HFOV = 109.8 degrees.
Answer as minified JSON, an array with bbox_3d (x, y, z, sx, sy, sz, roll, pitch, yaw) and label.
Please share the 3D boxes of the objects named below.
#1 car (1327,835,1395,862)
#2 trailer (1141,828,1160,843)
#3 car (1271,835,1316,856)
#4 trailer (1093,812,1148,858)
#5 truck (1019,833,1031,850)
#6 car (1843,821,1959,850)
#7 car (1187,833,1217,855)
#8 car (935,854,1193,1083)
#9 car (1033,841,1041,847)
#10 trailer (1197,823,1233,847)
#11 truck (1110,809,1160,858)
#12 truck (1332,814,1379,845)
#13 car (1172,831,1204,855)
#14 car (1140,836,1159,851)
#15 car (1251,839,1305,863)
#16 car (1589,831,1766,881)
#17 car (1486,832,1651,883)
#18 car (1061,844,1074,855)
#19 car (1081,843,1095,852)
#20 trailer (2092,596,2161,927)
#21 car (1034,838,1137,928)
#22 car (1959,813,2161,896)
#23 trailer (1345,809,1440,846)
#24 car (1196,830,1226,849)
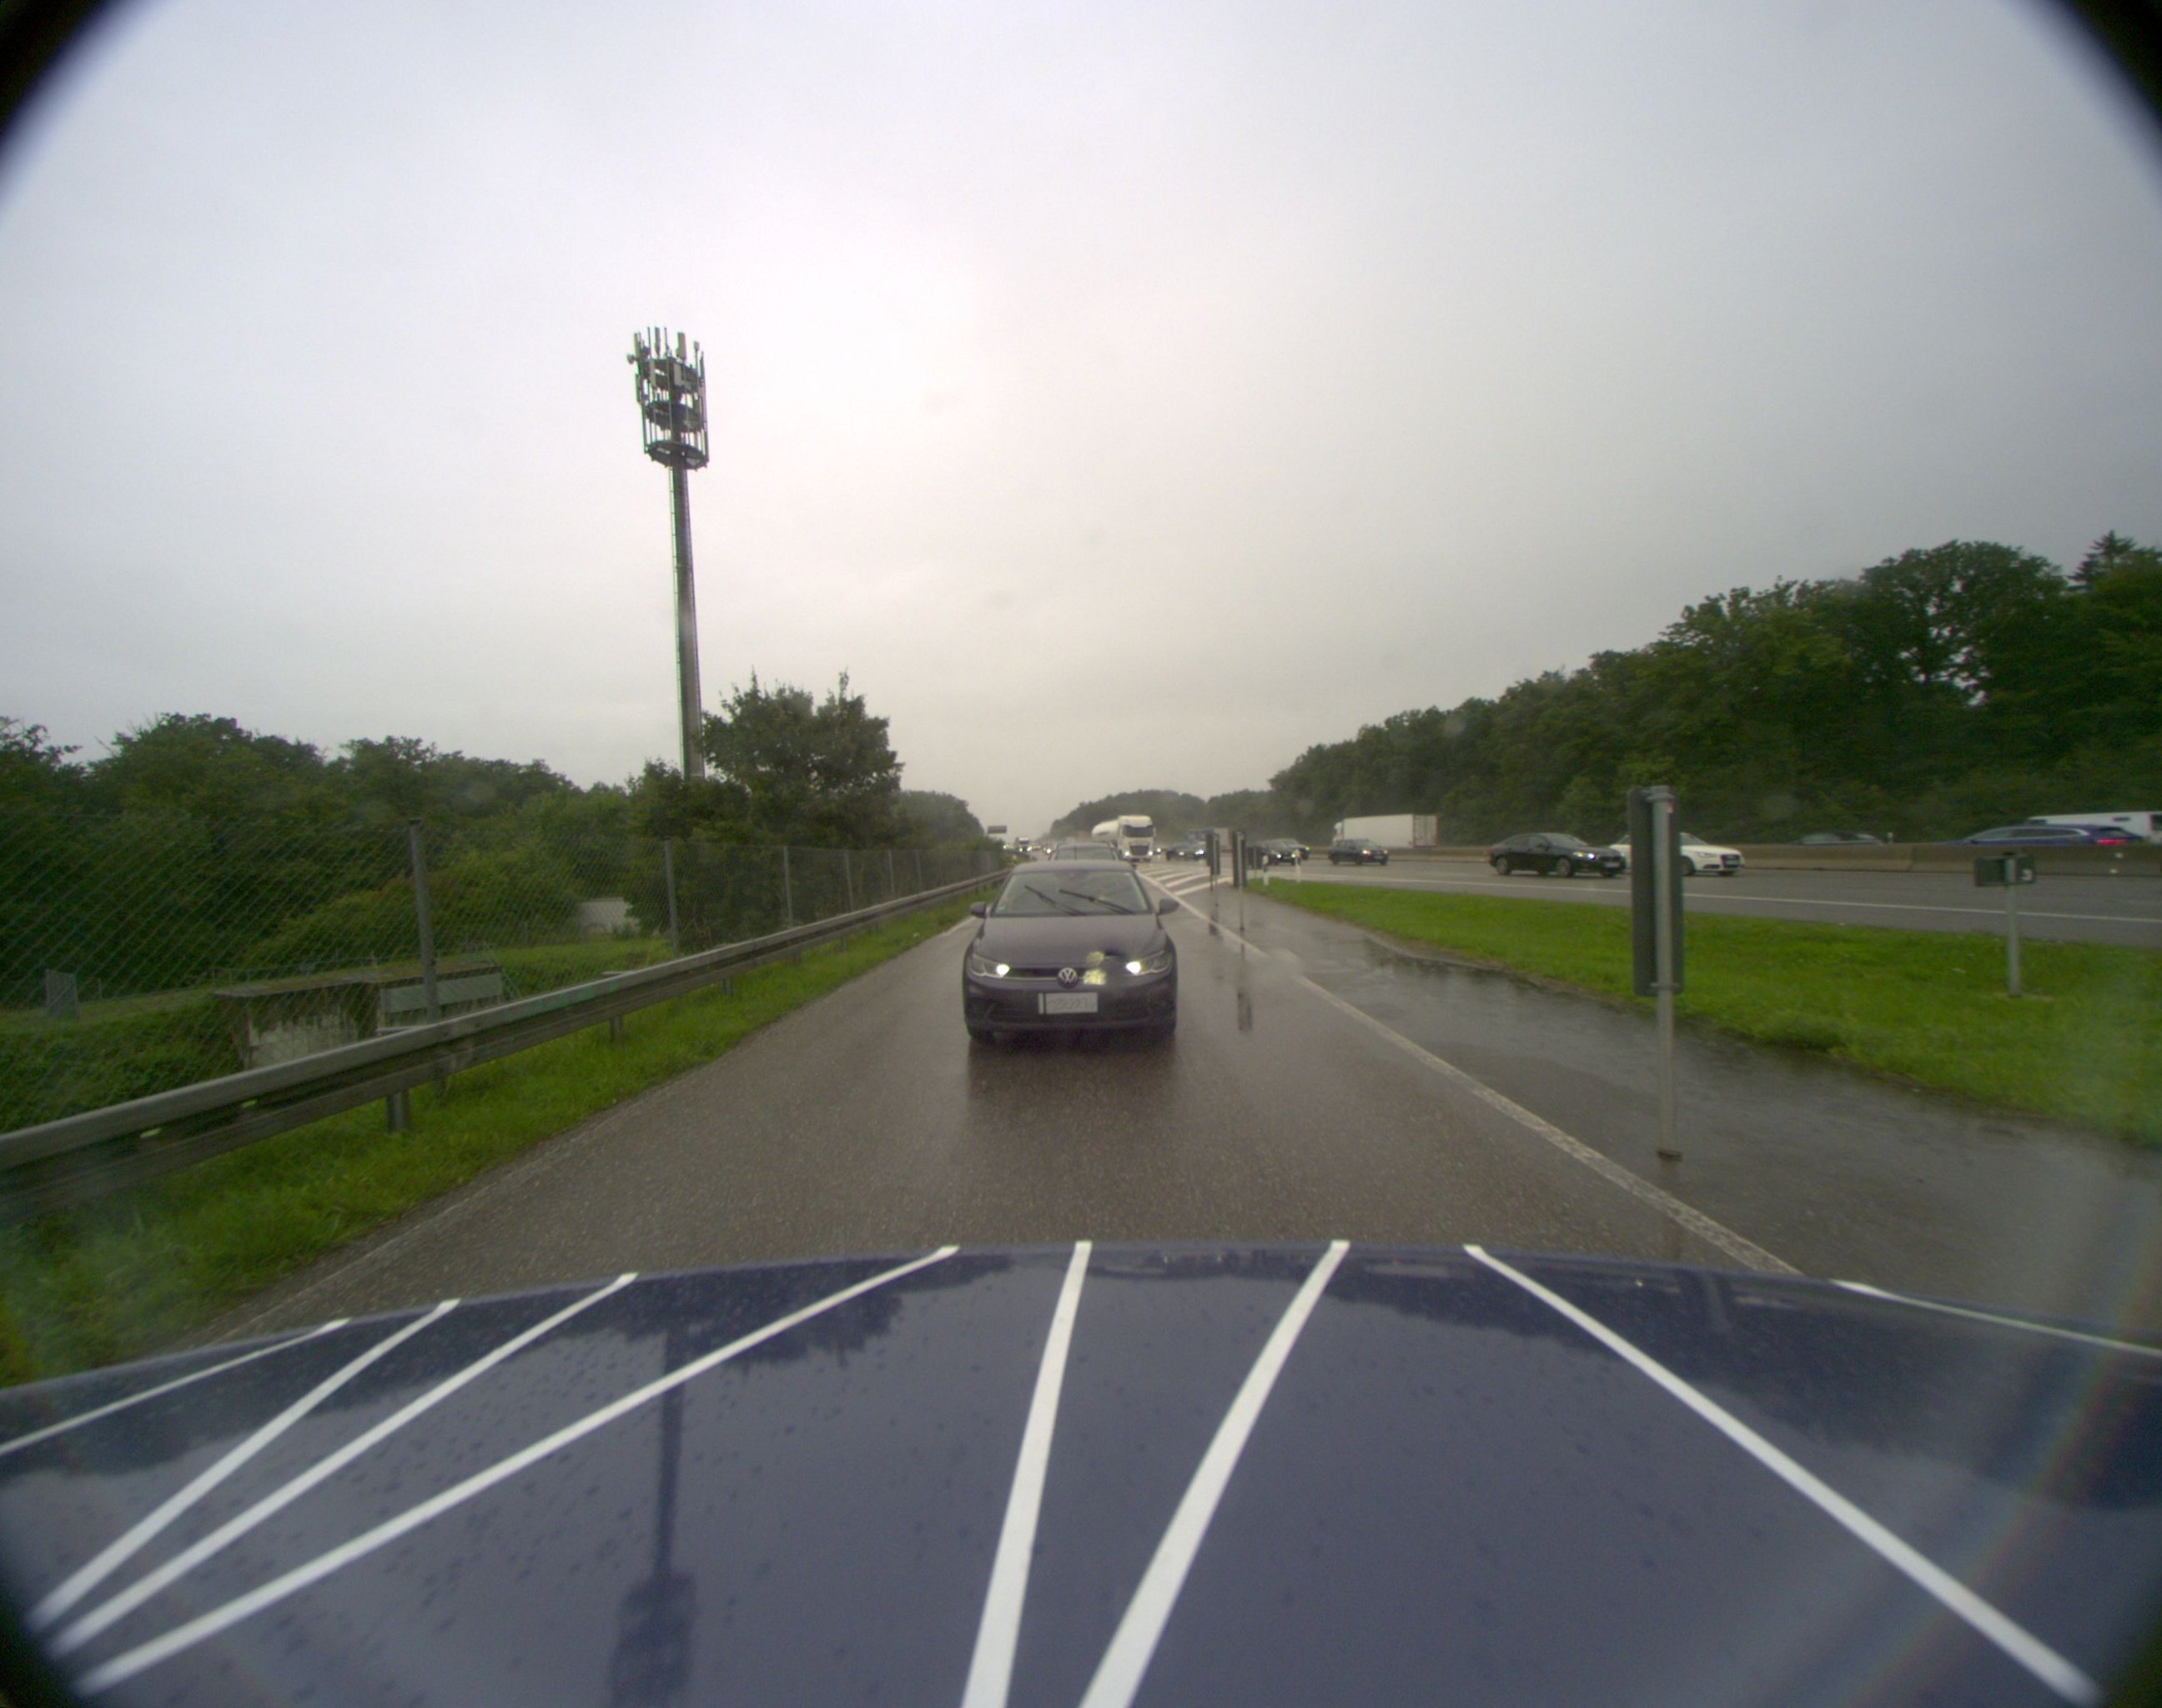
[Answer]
[{"bbox_3d":[16.017,-0.291,43.653,1.824,1.406,4.120,-1,0,-10],"label":"car"},{"bbox_3d":[17.555,-4.620,193.001,2.740,3.398,11.392,-2,1,-5],"label":"trailer"},{"bbox_3d":[17.152,-0.715,61.636,1.824,1.659,4.400,0,1,-10],"label":"car"},{"bbox_3d":[3.538,-1.754,71.899,2.771,4.003,11.030,-1,1,-10],"label":"trailer"},{"bbox_3d":[-14.228,-3.211,193.847,2.597,4.121,5.228,-5,1,-3],"label":"truck"},{"bbox_3d":[33.299,-0.754,30.960,1.443,1.075,2.885,-3,2,-10],"label":"car"},{"bbox_3d":[11.338,-0.927,71.429,1.862,2.002,3.997,-1,1,-6],"label":"car"},{"bbox_3d":[-0.141,0.798,7.413,1.670,1.394,4.261,-5,1,-1],"label":"car"},{"bbox_3d":[-12.028,-2.738,209.449,1.775,1.668,3.996,-4,2,-7],"label":"car"},{"bbox_3d":[24.154,-3.438,137.989,3.101,4.025,9.155,-6,2,-10],"label":"trailer"},{"bbox_3d":[4.585,-1.720,65.864,2.759,3.985,6.502,-2,1,-10],"label":"truck"},{"bbox_3d":[31.321,-2.759,86.869,2.655,3.432,5.596,-2,1,-9],"label":"truck"},{"bbox_3d":[9.072,-0.931,64.830,1.766,1.893,3.997,-3,1,-6],"label":"car"},{"bbox_3d":[9.667,-1.462,107.376,1.999,2.002,3.998,-2,1,-4],"label":"car"},{"bbox_3d":[11.745,-0.174,45.494,1.824,1.364,3.997,-1,1,-6],"label":"car"},{"bbox_3d":[19.404,0.013,25.038,1.886,1.472,4.498,-1,1,-9],"label":"car"},{"bbox_3d":[15.590,0.079,24.637,1.887,1.472,4.497,-1,1,-13],"label":"car"},{"bbox_3d":[-2.584,-0.849,142.033,1.927,1.852,3.996,-7,3,-5],"label":"car"},{"bbox_3d":[1.345,-1.220,143.532,1.789,1.550,4.094,-1,-1,-13],"label":"car"},{"bbox_3d":[15.514,-1.045,2.940,2.905,3.959,14.103,0,1,-10],"label":"trailer"},{"bbox_3d":[0.120,0.518,16.383,1.810,1.532,3.999,-5,1,1],"label":"car"},{"bbox_3d":[20.894,-0.008,14.833,2.000,1.531,4.523,-1,1,-9],"label":"car"},{"bbox_3d":[32.390,-2.670,80.038,2.657,3.477,13.473,-2,1,-9],"label":"trailer"},{"bbox_3d":[14.025,-1.530,82.308,2.000,2.002,3.996,-2,1,-10],"label":"car"}]
